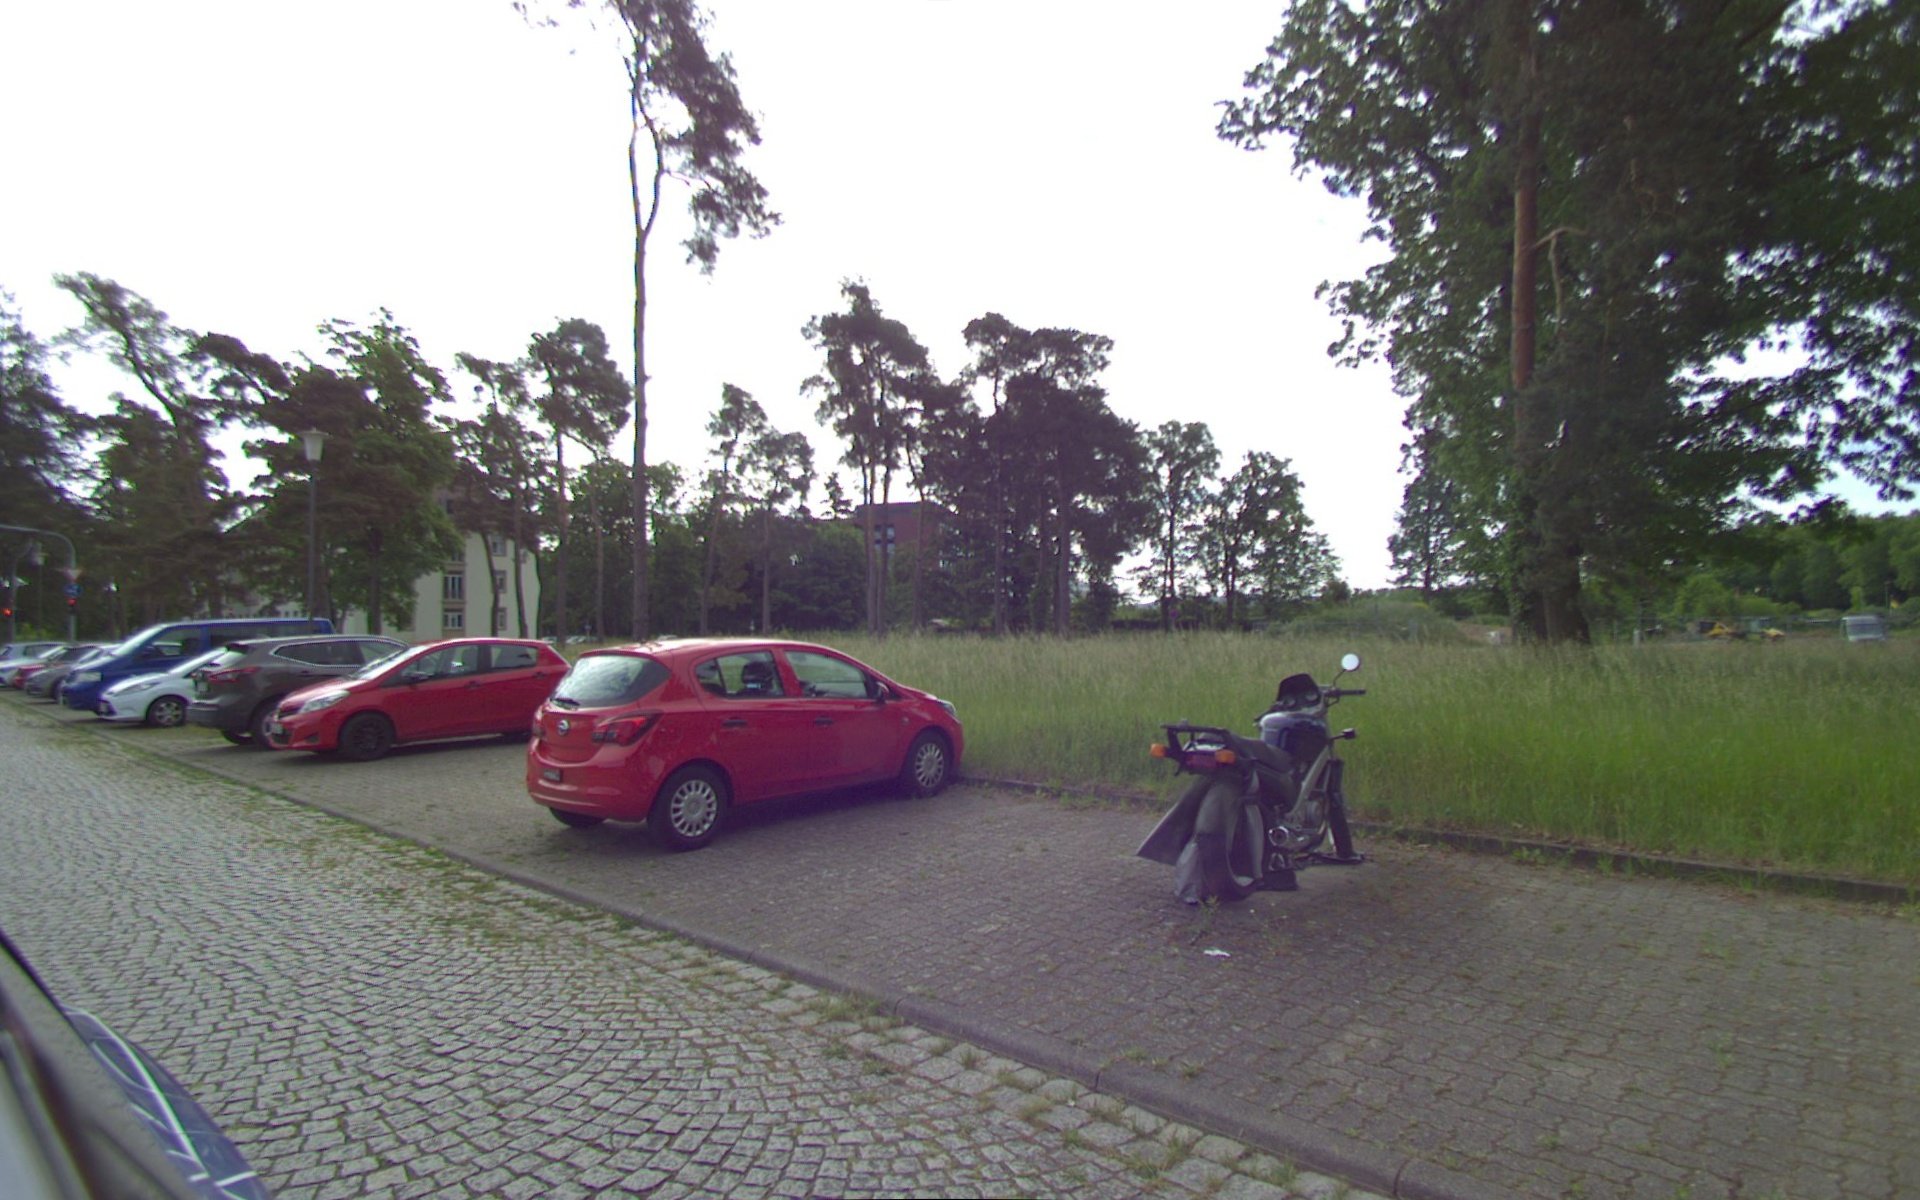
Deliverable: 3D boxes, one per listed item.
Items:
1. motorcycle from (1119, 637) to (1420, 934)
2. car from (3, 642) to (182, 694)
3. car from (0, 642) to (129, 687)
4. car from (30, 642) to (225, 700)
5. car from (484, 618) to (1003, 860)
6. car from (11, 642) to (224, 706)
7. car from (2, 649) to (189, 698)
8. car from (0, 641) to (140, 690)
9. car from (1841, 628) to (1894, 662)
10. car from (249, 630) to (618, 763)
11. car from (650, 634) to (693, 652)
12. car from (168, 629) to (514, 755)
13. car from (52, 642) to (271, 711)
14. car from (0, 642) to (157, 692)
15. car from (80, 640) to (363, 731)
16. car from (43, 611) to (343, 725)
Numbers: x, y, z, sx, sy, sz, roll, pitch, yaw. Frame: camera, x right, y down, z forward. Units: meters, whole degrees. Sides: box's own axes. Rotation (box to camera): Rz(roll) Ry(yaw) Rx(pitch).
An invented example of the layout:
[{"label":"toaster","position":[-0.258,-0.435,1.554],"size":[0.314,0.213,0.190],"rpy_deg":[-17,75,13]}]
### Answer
[{"label":"motorcycle","position":[1.862,0.905,5.806],"size":[0.718,1.301,2.250],"rpy_deg":[-3,-1,42]},{"label":"car","position":[-27.708,2.139,32.428],"size":[1.864,1.488,4.122],"rpy_deg":[-3,-3,41]},{"label":"car","position":[-33.530,2.361,37.519],"size":[1.904,1.555,3.946],"rpy_deg":[-3,-3,41]},{"label":"car","position":[-23.902,1.986,29.148],"size":[1.845,1.493,4.121],"rpy_deg":[-3,-3,42]},{"label":"car","position":[-1.616,0.952,8.630],"size":[1.903,1.537,4.013],"rpy_deg":[-3,-3,40]},{"label":"car","position":[-22.149,1.890,26.715],"size":[1.865,1.503,4.120],"rpy_deg":[-3,-3,43]},{"label":"car","position":[-26.107,2.173,30.655],"size":[1.831,1.276,4.120],"rpy_deg":[-3,-3,43]},{"label":"car","position":[-31.704,2.269,35.516],"size":[1.933,1.560,4.209],"rpy_deg":[-2,-3,38]},{"label":"car","position":[62.662,3.093,69.943],"size":[1.995,2.217,4.980],"rpy_deg":[-2,-2,34]},{"label":"car","position":[-7.083,1.195,13.957],"size":[1.906,1.522,4.123],"rpy_deg":[-3,-3,40]},{"label":"car","position":[-29.933,4.433,104.930],"size":[1.723,1.821,3.942],"rpy_deg":[-3,-3,44]},{"label":"car","position":[-9.334,1.292,15.545],"size":[1.984,1.635,4.125],"rpy_deg":[-3,-3,39]},{"label":"car","position":[-19.749,1.825,25.143],"size":[1.845,1.509,4.023],"rpy_deg":[-3,-3,42]},{"label":"car","position":[-29.681,2.193,33.663],"size":[1.934,1.519,4.330],"rpy_deg":[-3,-3,40]},{"label":"car","position":[-14.145,1.563,19.593],"size":[1.780,1.522,4.124],"rpy_deg":[-3,-3,39]},{"label":"car","position":[-16.033,1.344,21.379],"size":[2.114,2.138,4.732],"rpy_deg":[-3,-3,41]}]
